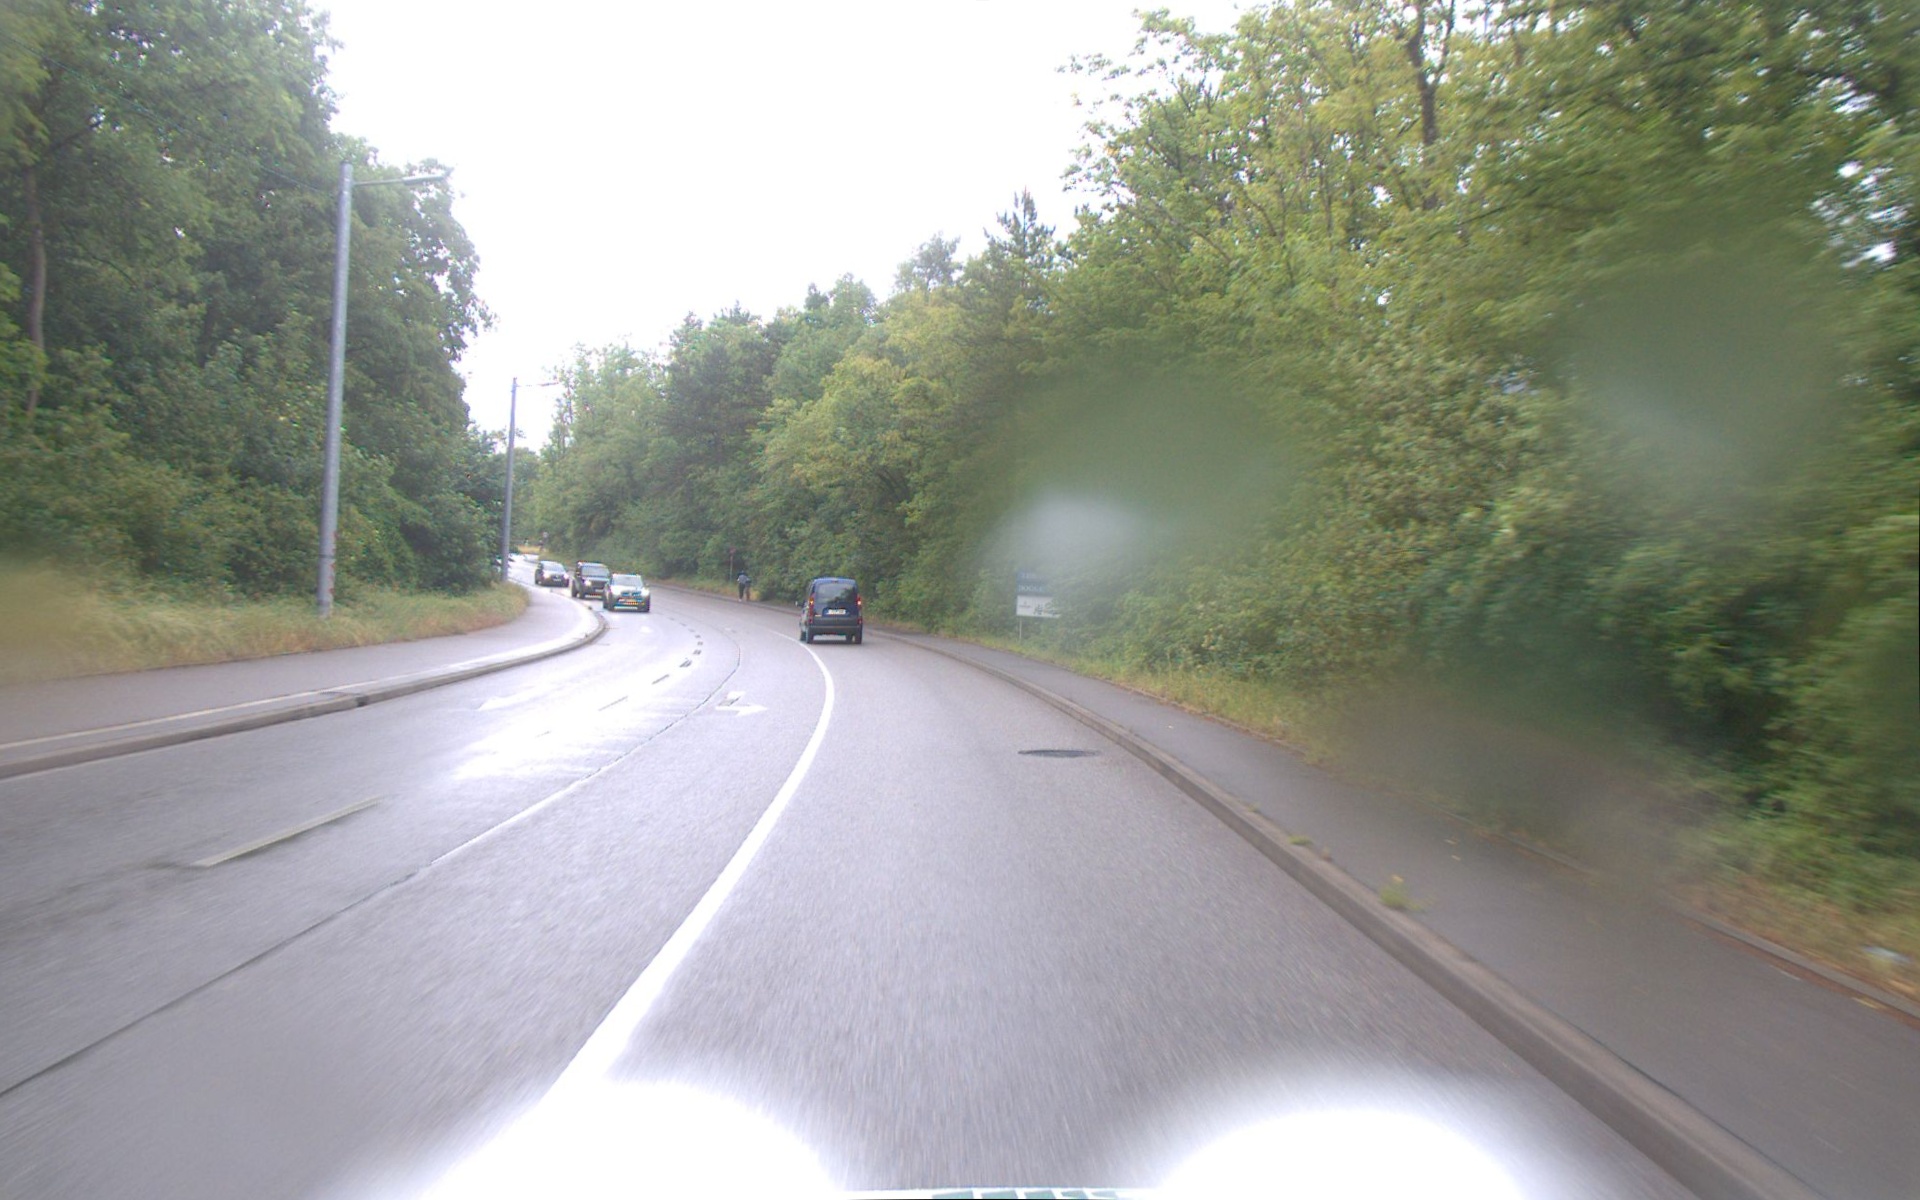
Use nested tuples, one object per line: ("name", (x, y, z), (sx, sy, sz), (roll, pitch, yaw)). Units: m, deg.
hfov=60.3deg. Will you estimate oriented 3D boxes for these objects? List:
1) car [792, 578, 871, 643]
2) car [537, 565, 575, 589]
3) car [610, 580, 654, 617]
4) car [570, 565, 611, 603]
("car", (-3.803, 0.268, 48.418), (1.795, 1.825, 3.988), (0, 1, -13))
("car", (-26.115, -1.493, 106.917), (1.801, 1.465, 3.974), (2, 0, -22))
("car", (-15.427, -0.100, 77.646), (1.778, 1.622, 4.502), (2, 0, -14))
("car", (-20.304, -0.843, 90.803), (1.799, 1.875, 4.686), (0, -2, -18))
